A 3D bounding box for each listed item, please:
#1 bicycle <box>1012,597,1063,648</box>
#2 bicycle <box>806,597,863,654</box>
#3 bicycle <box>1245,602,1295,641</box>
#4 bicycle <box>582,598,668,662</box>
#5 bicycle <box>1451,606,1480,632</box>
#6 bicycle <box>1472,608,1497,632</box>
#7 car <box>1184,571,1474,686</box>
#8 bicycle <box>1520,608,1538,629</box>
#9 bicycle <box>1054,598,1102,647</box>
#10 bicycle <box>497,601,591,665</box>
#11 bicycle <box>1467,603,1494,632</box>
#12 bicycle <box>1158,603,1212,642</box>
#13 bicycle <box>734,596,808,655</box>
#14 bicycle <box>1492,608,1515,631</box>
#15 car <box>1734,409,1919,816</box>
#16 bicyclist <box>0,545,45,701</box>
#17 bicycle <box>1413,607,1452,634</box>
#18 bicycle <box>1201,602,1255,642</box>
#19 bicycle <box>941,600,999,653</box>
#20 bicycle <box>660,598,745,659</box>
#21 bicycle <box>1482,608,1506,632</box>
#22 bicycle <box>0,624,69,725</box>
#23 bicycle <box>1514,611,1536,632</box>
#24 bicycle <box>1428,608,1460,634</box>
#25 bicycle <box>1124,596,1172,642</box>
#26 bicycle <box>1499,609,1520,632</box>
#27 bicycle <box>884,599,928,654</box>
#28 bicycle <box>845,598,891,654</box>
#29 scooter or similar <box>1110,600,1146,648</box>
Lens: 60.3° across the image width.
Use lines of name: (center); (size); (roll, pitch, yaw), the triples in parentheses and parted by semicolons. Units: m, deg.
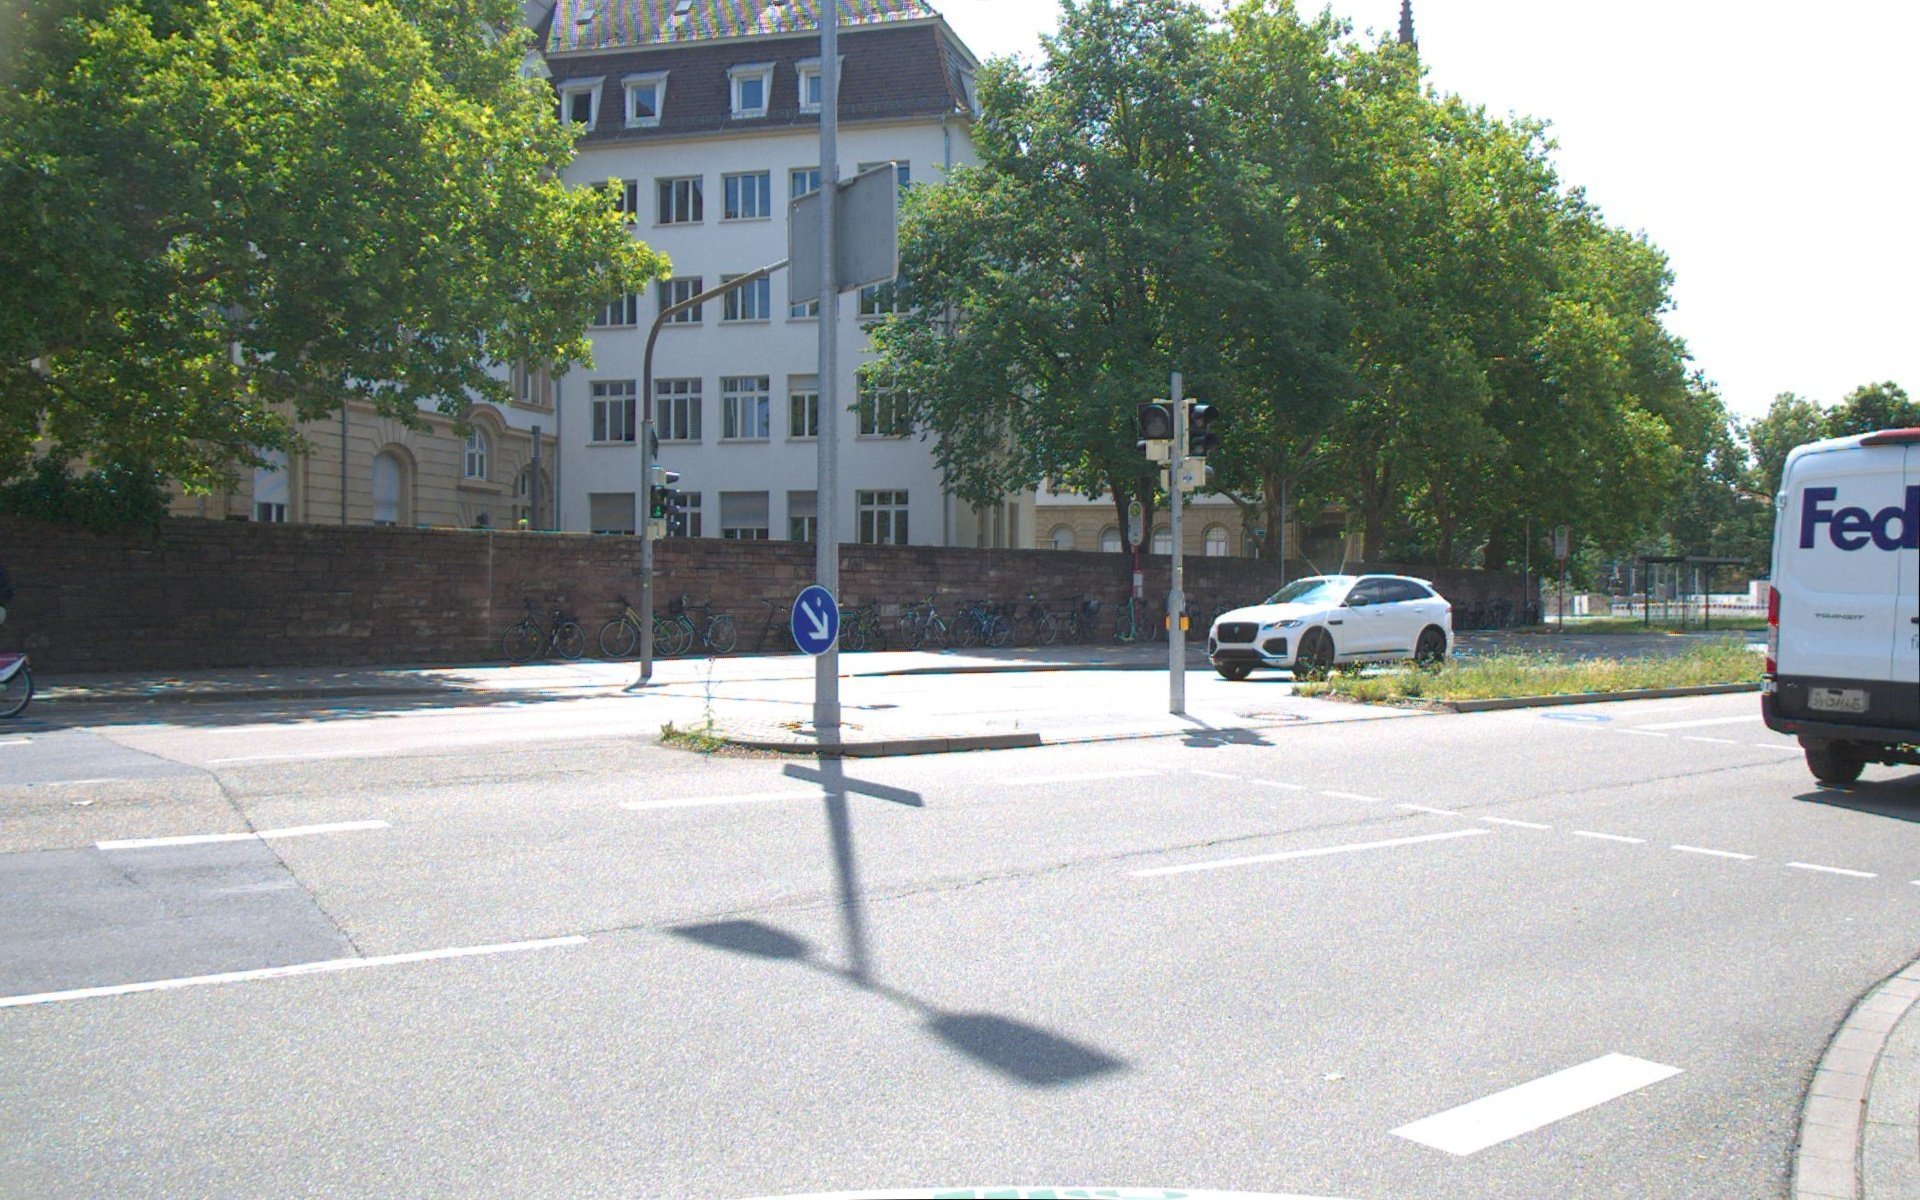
bicycle: (1.834, 0.519, 39.086); (0.522, 1.172, 1.591); (0, 0, 30)
bicycle: (-2.635, 0.530, 34.919); (0.394, 1.172, 1.591); (0, 0, 29)
bicycle: (8.903, 0.608, 47.447); (0.535, 1.066, 1.885); (0, 0, 40)
bicycle: (-6.269, 0.543, 31.018); (0.492, 1.172, 1.583); (0, 0, 44)
bicycle: (18.780, 0.697, 61.404); (0.534, 0.968, 1.659); (0, 0, 35)
bicycle: (20.410, 0.769, 64.364); (0.534, 0.918, 1.661); (0, 0, 32)
car: (6.040, 0.420, 26.829); (4.723, 1.696, 2.051); (0, 0, -37)
bicycle: (25.454, 0.804, 73.966); (0.533, 0.918, 1.663); (0, 0, 27)
bicycle: (2.892, 0.544, 40.542); (0.522, 1.172, 1.591); (0, 0, 30)
bicycle: (-7.474, 0.585, 29.777); (0.563, 1.118, 1.583); (0, 0, 44)
bicycle: (19.762, 0.669, 62.779); (0.534, 1.070, 1.618); (0, 0, 35)
bicycle: (6.022, 0.598, 44.241); (0.473, 1.026, 1.790); (0, 0, 43)
bicycle: (-3.844, 0.504, 33.742); (1.581, 1.172, 0.407); (0, 0, -43)
bicycle: (22.120, 0.786, 67.325); (0.534, 0.918, 1.661); (0, 0, 32)
car: (8.478, 0.082, 12.860); (5.643, 2.699, 2.119); (0, 0, -37)
bicyclist: (-10.942, 0.244, 18.398); (1.084, 1.697, 0.784); (1, 0, -5)
bicycle: (16.401, 0.712, 57.391); (1.651, 0.918, 0.496); (0, 0, -42)
bicycle: (7.439, 0.601, 45.845); (0.535, 1.066, 1.939); (0, 0, 40)
bicycle: (0.227, 0.592, 37.769); (0.395, 1.172, 1.585); (0, 0, 40)
bicycle: (-5.023, 0.543, 32.320); (0.612, 1.172, 1.583); (0, 0, 44)
bicycle: (21.282, 0.799, 65.851); (0.534, 0.918, 1.661); (0, 0, 32)
bicycle: (-11.076, 0.810, 18.406); (1.852, 1.081, 0.816); (1, 0, -4)
bicycle: (24.616, 0.931, 72.052); (0.534, 0.918, 1.661); (0, 0, 32)
bicycle: (17.294, 0.739, 59.085); (0.534, 0.918, 1.658); (1, 0, 37)
bicycle: (4.886, 0.491, 42.950); (0.425, 1.163, 1.586); (0, 0, 40)
bicycle: (22.903, 0.850, 68.932); (0.444, 0.918, 1.790); (0, 0, 32)
bicycle: (-1.168, 0.560, 35.931); (0.393, 1.172, 1.595); (0, 0, 19)
bicycle: (-1.948, 0.543, 35.214); (0.393, 1.172, 1.595); (0, 0, 19)
scooter or similar: (4.177, 0.593, 41.058); (0.424, 1.172, 1.190); (0, 0, 31)
